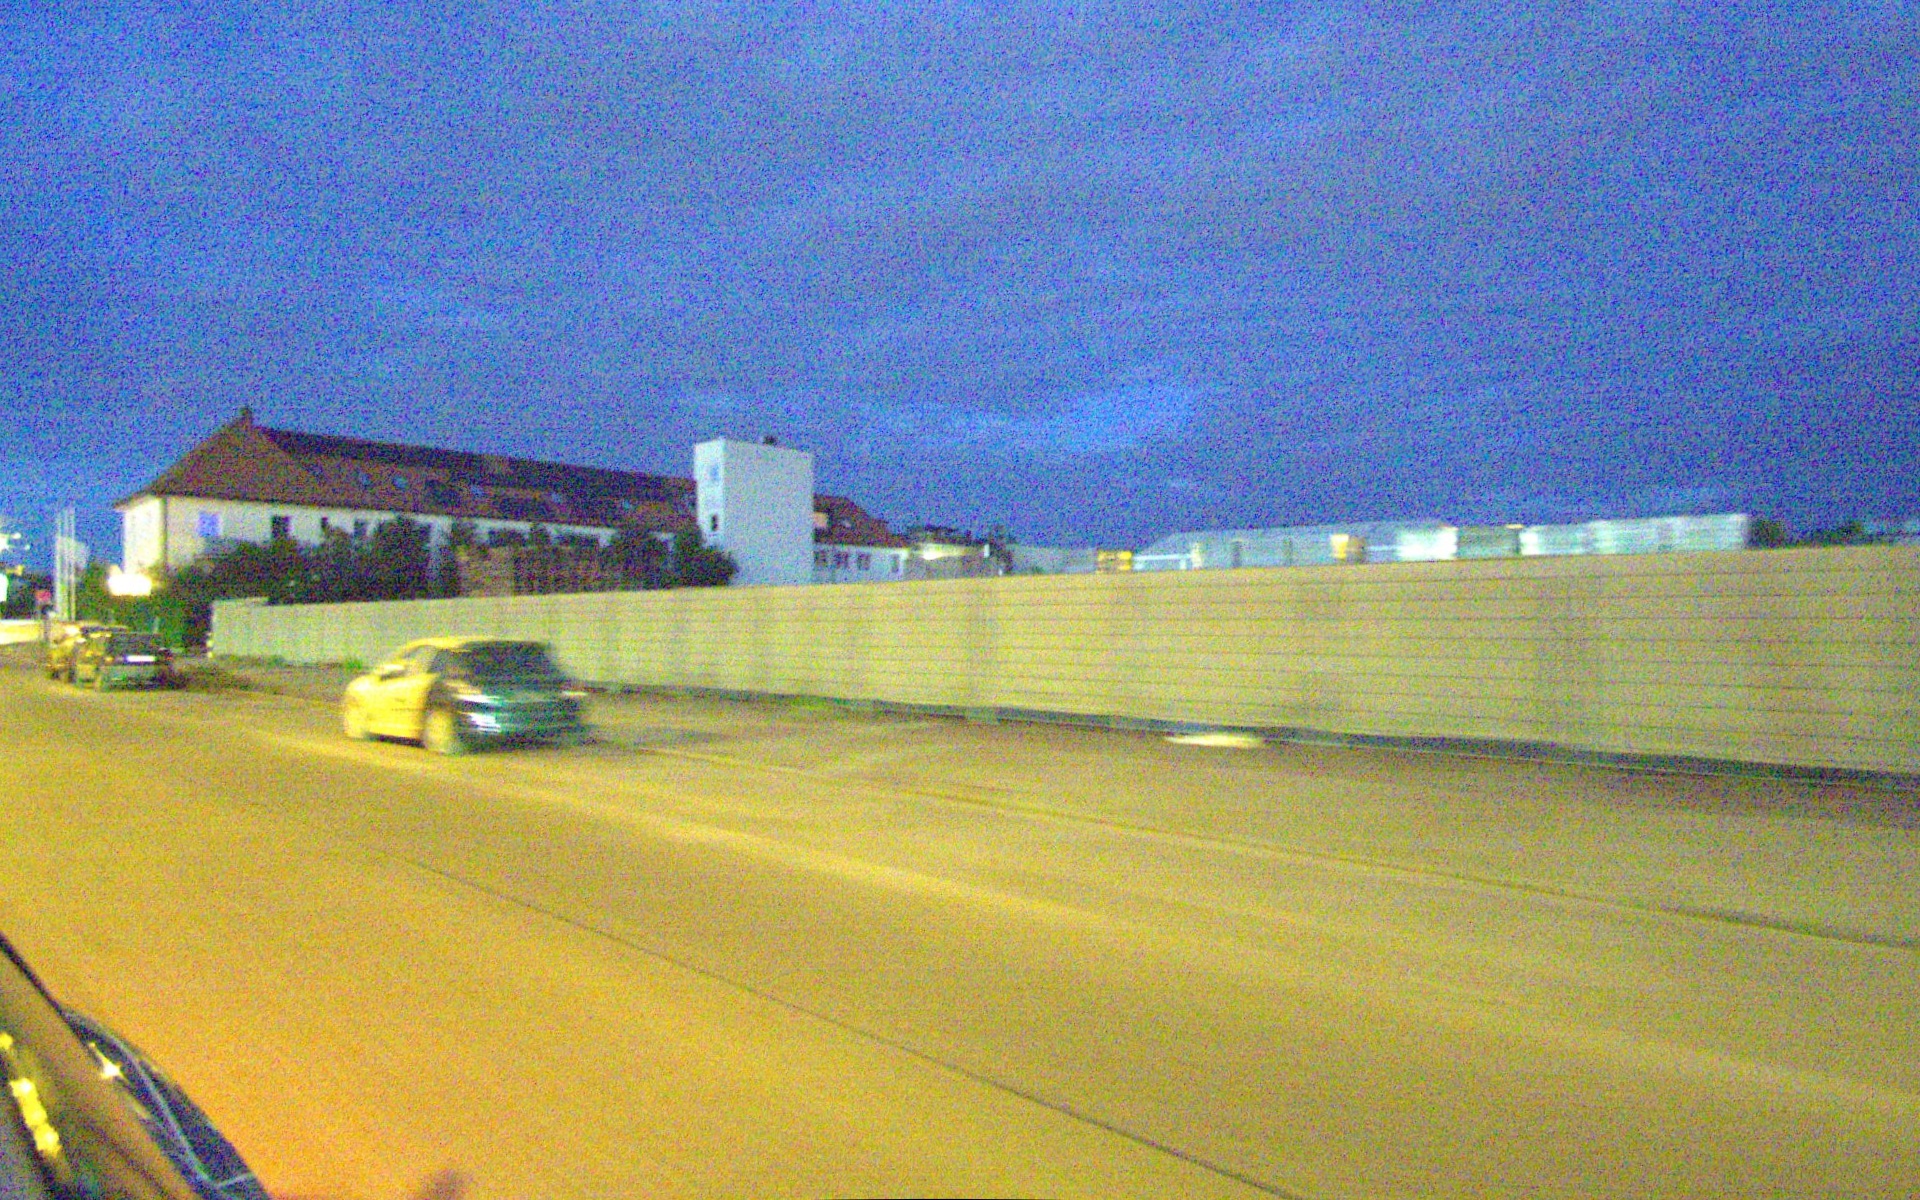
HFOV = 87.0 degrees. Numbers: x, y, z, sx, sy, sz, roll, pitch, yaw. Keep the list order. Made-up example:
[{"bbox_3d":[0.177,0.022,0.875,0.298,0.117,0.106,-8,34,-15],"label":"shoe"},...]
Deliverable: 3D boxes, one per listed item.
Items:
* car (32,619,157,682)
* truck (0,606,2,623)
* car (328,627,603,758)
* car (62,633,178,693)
[{"bbox_3d":[-25.046,1.381,29.233,4.769,1.649,1.973,-1,-1,40],"label":"car"},{"bbox_3d":[-131.124,2.024,135.926,2.345,2.301,7.764,1,-1,-34],"label":"truck"},{"bbox_3d":[-6.548,1.083,13.236,3.998,1.431,1.822,-1,-2,41],"label":"car"},{"bbox_3d":[-21.343,1.534,25.657,3.997,1.364,1.585,-1,-2,40],"label":"car"}]
